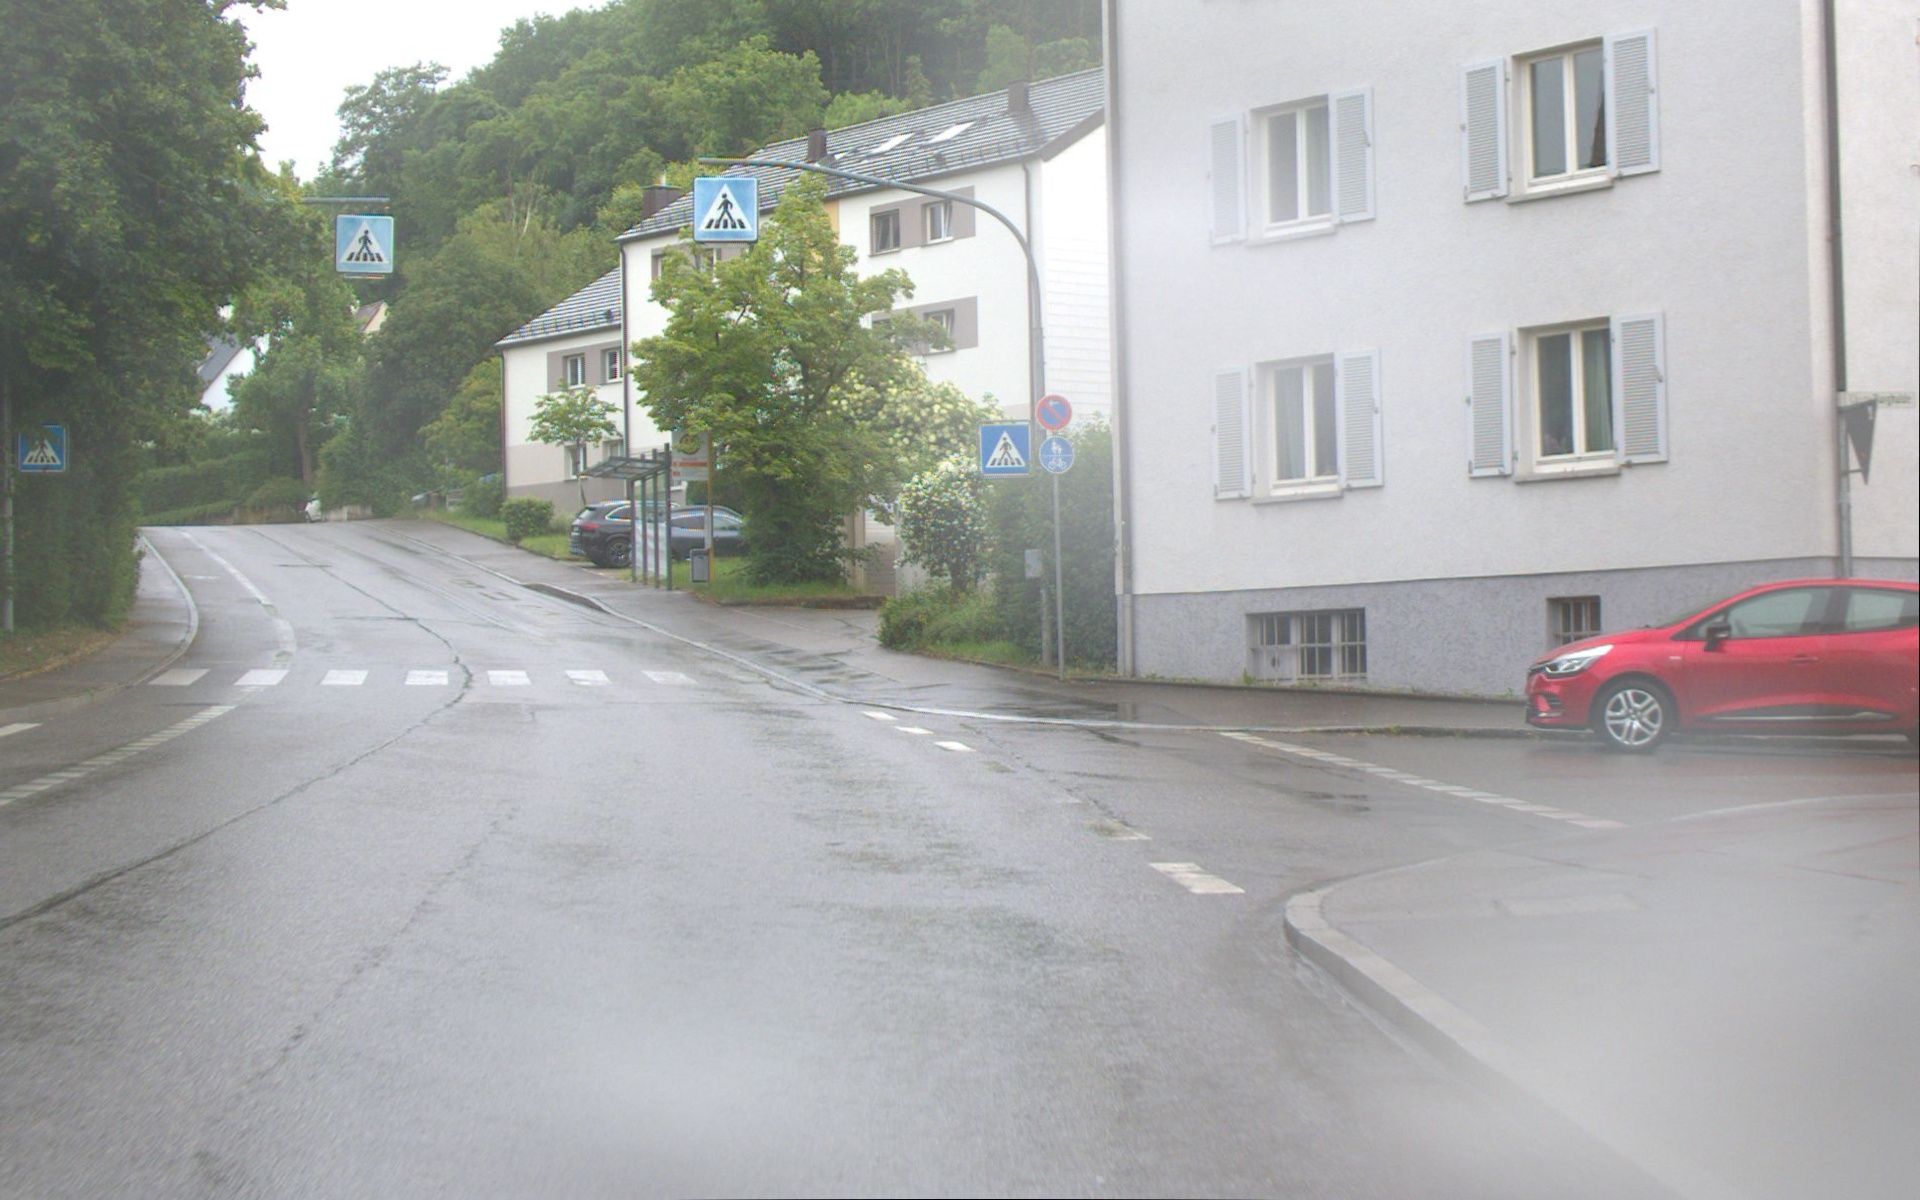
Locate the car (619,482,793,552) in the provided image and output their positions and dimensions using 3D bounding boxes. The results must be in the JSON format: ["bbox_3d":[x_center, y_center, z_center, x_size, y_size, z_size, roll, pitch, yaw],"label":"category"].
[{"bbox_3d":[-5.951,-1.947,80.363,3.742,1.453,1.725,-2,4,-16],"label":"car"}]

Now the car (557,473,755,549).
[{"bbox_3d":[-7.549,-2.231,85.362,4.525,1.654,1.857,-3,4,-21],"label":"car"}]

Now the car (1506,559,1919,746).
[{"bbox_3d":[6.565,0.410,28.132,4.081,1.403,1.724,1,2,8],"label":"car"}]
